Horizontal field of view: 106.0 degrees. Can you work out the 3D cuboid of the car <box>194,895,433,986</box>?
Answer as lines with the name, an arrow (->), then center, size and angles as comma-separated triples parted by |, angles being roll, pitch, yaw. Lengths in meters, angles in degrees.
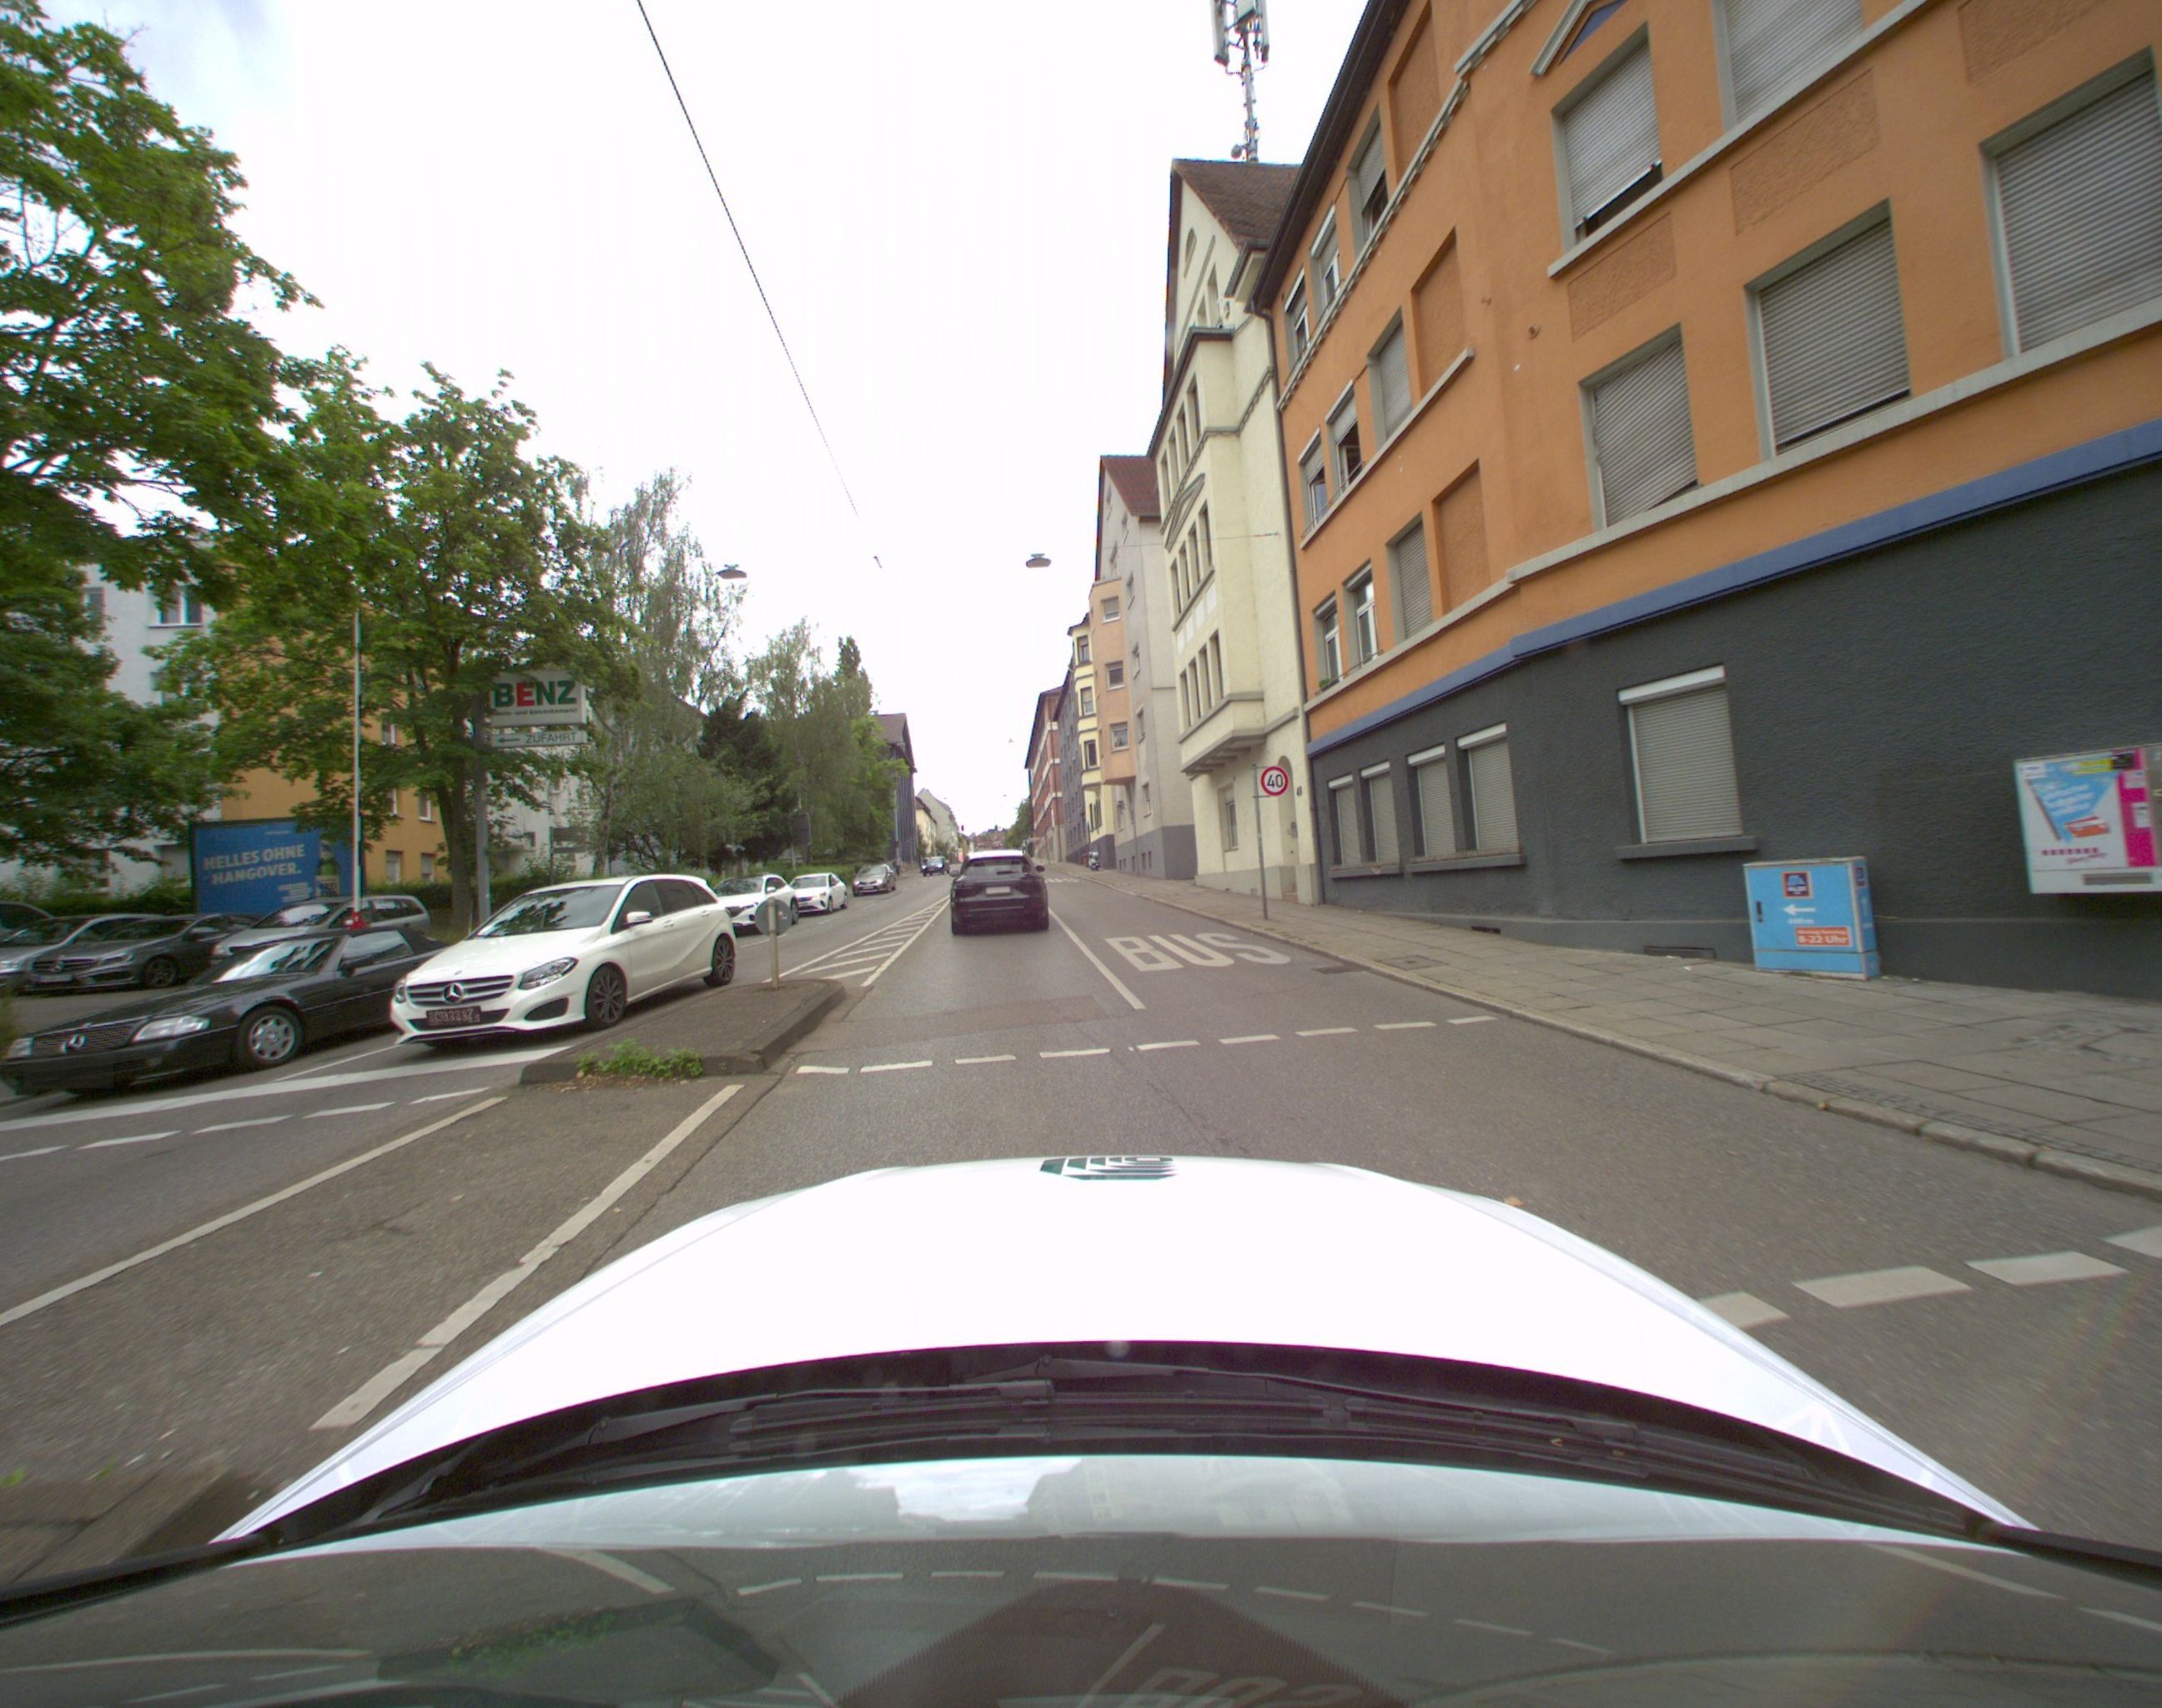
car -> -16.486, 1.783, 17.822 | 1.705, 1.501, 3.991 | -1, 0, -7

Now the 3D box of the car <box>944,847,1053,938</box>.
car -> -1.909, 0.740, 17.842 | 2.023, 1.641, 4.342 | -2, 0, -9

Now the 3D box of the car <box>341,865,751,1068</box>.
car -> -5.696, 1.042, 9.507 | 1.770, 1.546, 4.325 | -6, 1, 0

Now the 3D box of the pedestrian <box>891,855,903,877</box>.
pedestrian -> -16.758, 1.060, 74.291 | 0.881, 1.950, 0.865 | -2, 0, -7

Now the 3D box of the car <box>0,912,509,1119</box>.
car -> -8.964, 1.586, 9.282 | 1.797, 1.281, 4.234 | -7, 1, -1

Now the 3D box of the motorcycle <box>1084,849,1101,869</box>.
motorcycle -> 0.713, 0.288, 49.987 | 0.537, 1.155, 2.220 | -7, 1, -9

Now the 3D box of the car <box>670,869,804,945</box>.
car -> -9.579, 1.400, 23.151 | 1.948, 1.593, 4.492 | -7, 1, -4

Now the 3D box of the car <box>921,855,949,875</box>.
car -> -12.317, 0.918, 68.855 | 1.837, 1.447, 4.302 | -6, 1, -6

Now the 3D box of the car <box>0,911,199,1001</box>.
car -> -21.402, 2.087, 17.192 | 1.708, 1.410, 3.985 | -1, 0, -11

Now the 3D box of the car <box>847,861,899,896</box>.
car -> -10.623, 1.215, 41.910 | 1.837, 1.447, 4.302 | -6, 1, -6

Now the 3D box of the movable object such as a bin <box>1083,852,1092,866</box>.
movable object such as a bin -> 0.421, 0.342, 56.791 | 0.474, 0.892, 0.515 | -7, 1, -7

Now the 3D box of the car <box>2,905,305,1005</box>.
car -> -18.768, 1.956, 16.814 | 1.703, 1.501, 3.997 | -1, 0, -2

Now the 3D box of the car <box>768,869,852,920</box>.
car -> -9.709, 1.394, 29.536 | 1.836, 1.412, 4.067 | -7, 1, -5

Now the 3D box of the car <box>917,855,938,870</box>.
car -> -16.235, 0.886, 86.104 | 1.712, 1.423, 3.981 | -6, 1, -6

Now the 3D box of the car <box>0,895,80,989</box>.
car -> -23.690, 1.911, 16.569 | 1.821, 1.902, 3.994 | -1, 0, -5
